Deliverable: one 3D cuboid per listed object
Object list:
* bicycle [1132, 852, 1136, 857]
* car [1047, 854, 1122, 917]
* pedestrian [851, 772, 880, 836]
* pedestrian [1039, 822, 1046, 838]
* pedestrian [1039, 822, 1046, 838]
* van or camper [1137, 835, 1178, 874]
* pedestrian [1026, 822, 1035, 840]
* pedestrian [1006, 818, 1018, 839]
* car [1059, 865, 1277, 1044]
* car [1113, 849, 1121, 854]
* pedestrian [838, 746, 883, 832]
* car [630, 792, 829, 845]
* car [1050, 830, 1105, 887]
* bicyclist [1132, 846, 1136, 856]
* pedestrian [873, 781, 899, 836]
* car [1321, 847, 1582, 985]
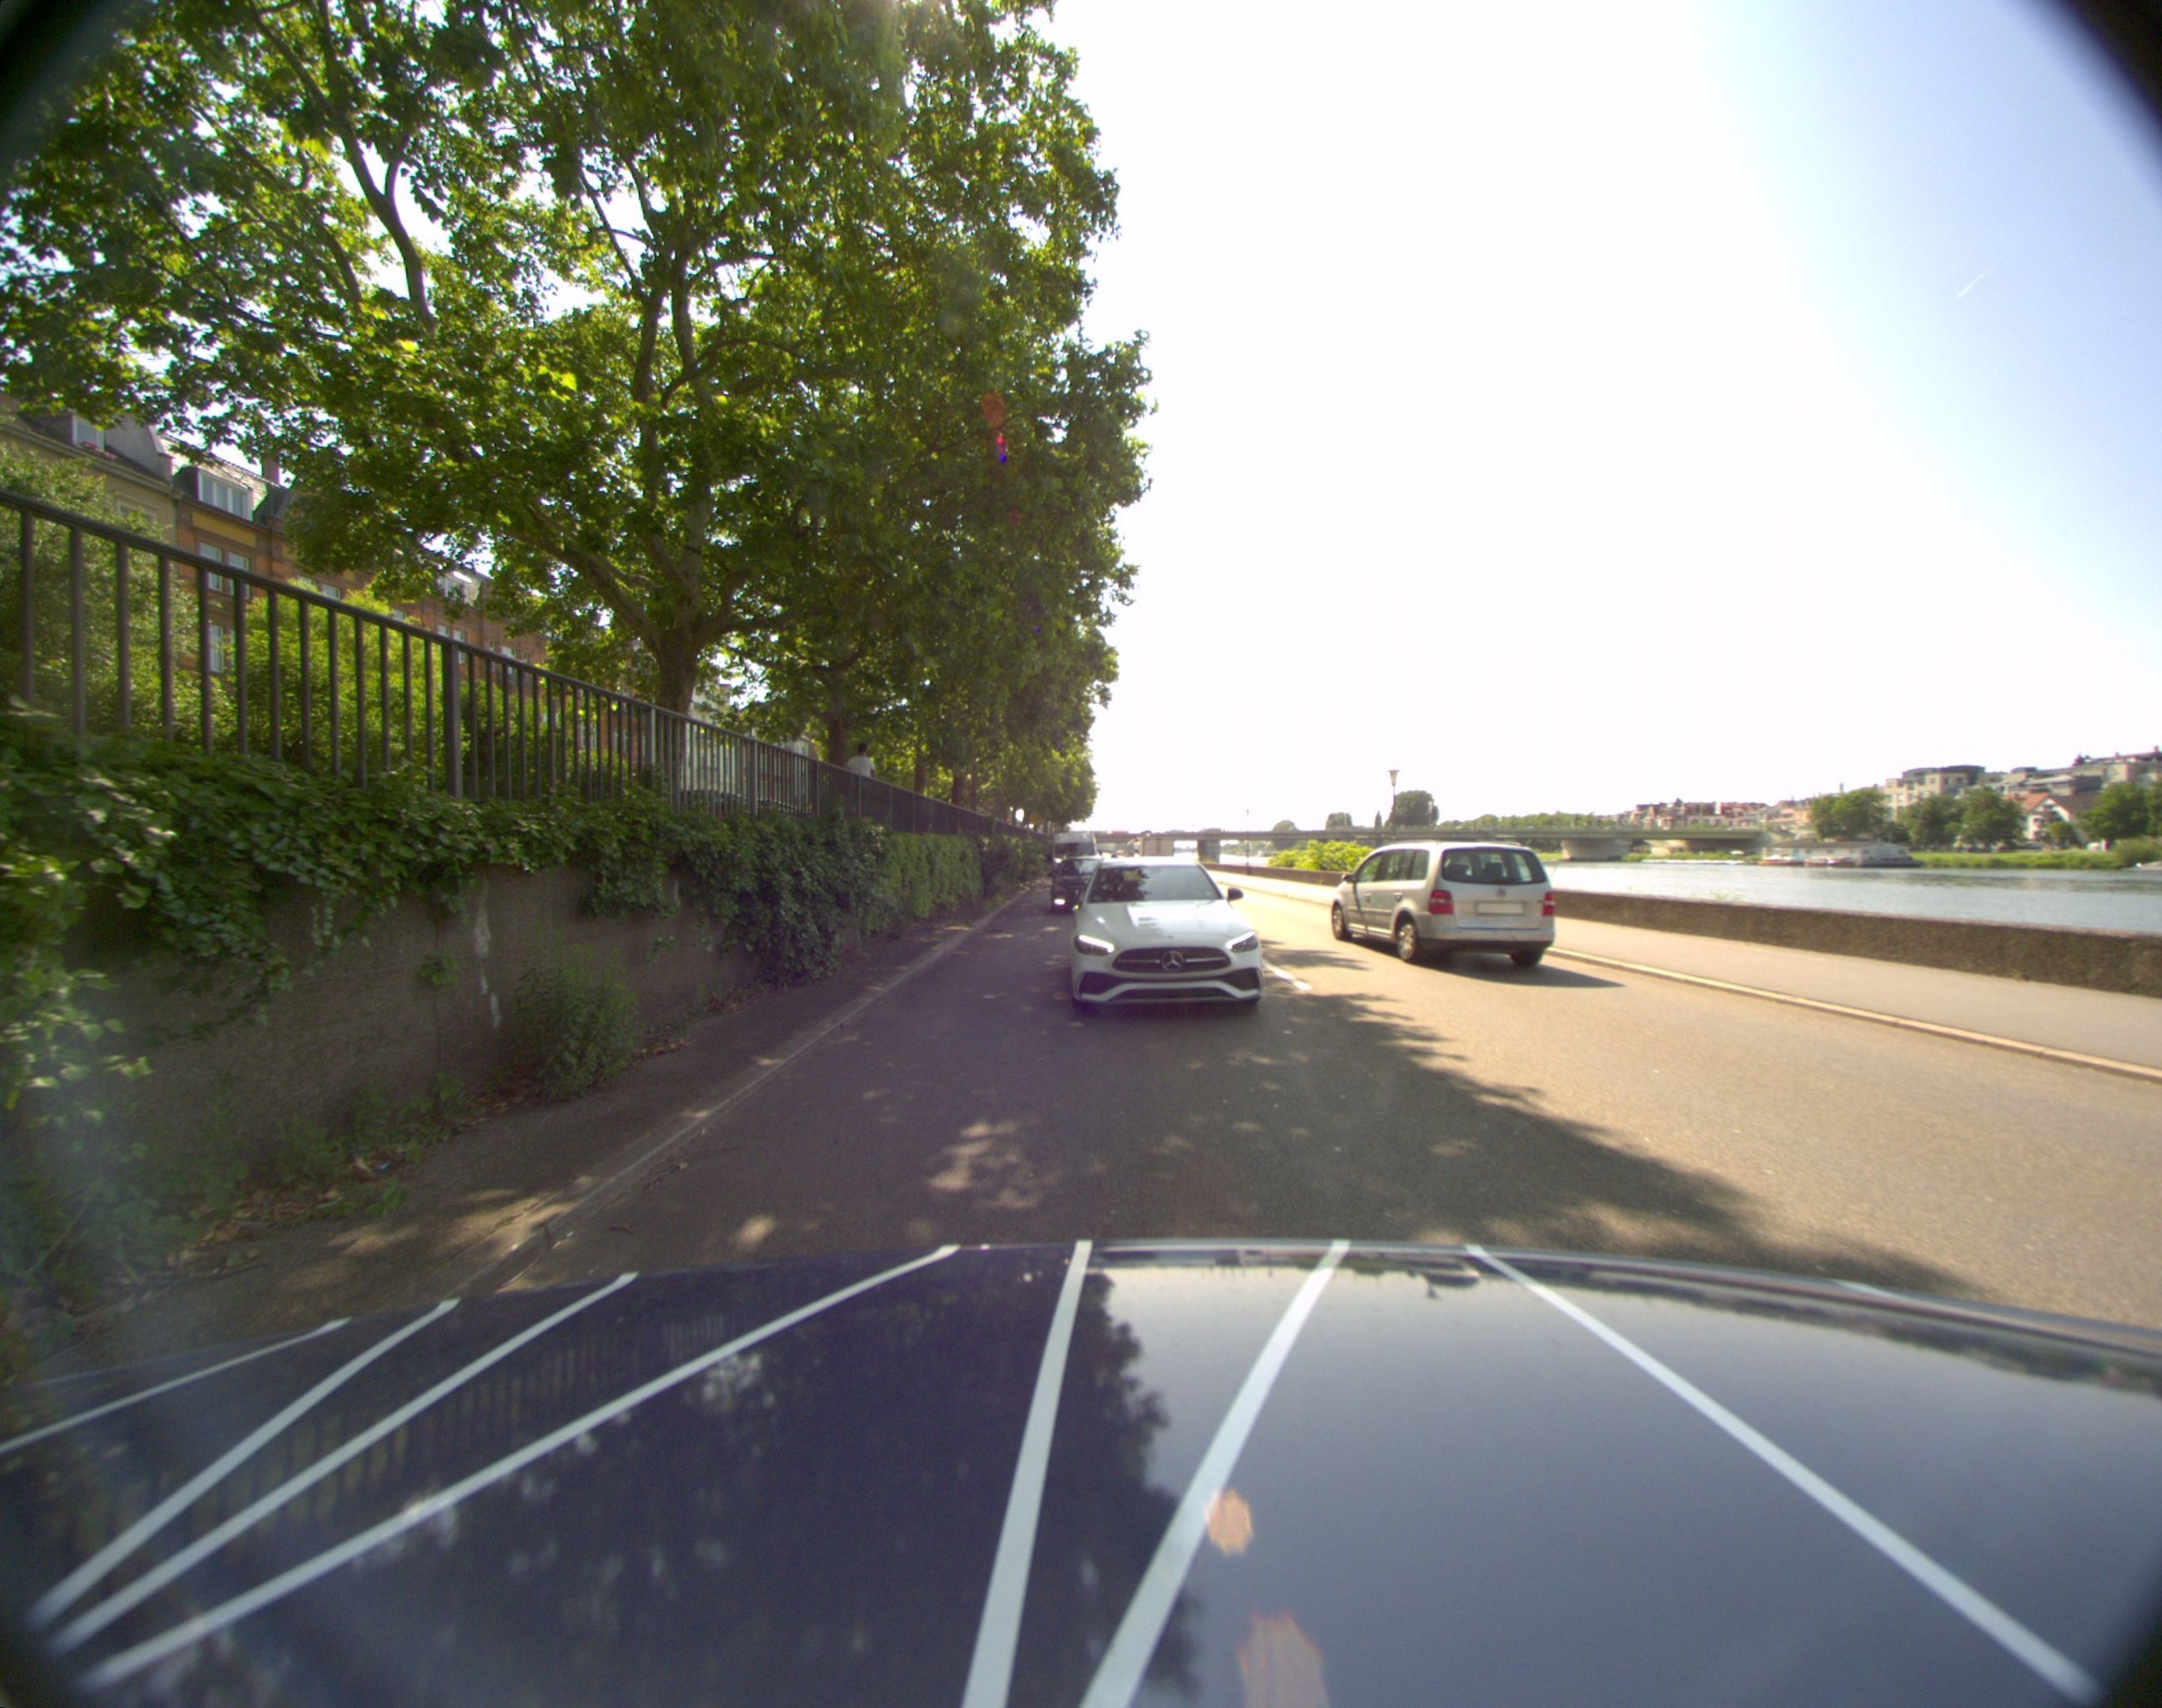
[{"bbox_3d":[9.182,0.099,131.514,0.654,0.977,1.943,0,1,0],"label":"bicycle"},{"bbox_3d":[0.059,0.780,20.933,1.756,1.385,4.618,-4,0,-1],"label":"car"},{"bbox_3d":[-5.599,-1.290,19.774,0.649,1.631,0.626,0,1,-8],"label":"pedestrian"},{"bbox_3d":[-4.021,-2.491,79.232,0.666,1.582,0.764,0,1,0],"label":"pedestrian"},{"bbox_3d":[-3.992,-2.498,78.375,0.738,1.582,0.810,0,1,0],"label":"pedestrian"},{"bbox_3d":[4.879,0.015,49.405,2.082,2.384,5.384,1,1,0],"label":"van or camper"},{"bbox_3d":[-4.511,-2.066,67.521,0.738,1.582,0.810,0,1,0],"label":"pedestrian"},{"bbox_3d":[-4.214,-1.546,46.383,0.713,1.236,0.742,0,1,-1],"label":"pedestrian"},{"bbox_3d":[0.762,0.895,8.793,1.830,1.411,4.552,-2,0,0],"label":"car"},{"bbox_3d":[9.520,-0.671,201.345,1.676,1.433,3.901,0,1,0],"label":"car"},{"bbox_3d":[-4.173,-1.212,14.434,0.666,1.582,0.650,0,1,0],"label":"pedestrian"},{"bbox_3d":[-7.884,-0.779,17.284,3.741,1.108,1.650,0,1,-3],"label":"car"},{"bbox_3d":[-0.186,0.155,35.487,2.351,2.429,6.207,0,1,-1],"label":"car"},{"bbox_3d":[9.172,-0.470,131.561,0.663,1.692,0.975,0,1,0],"label":"bicyclist"},{"bbox_3d":[-5.078,-1.183,19.835,0.586,1.411,0.589,0,1,-8],"label":"pedestrian"},{"bbox_3d":[5.104,0.733,11.202,1.736,1.640,4.176,1,0,-1],"label":"car"}]
